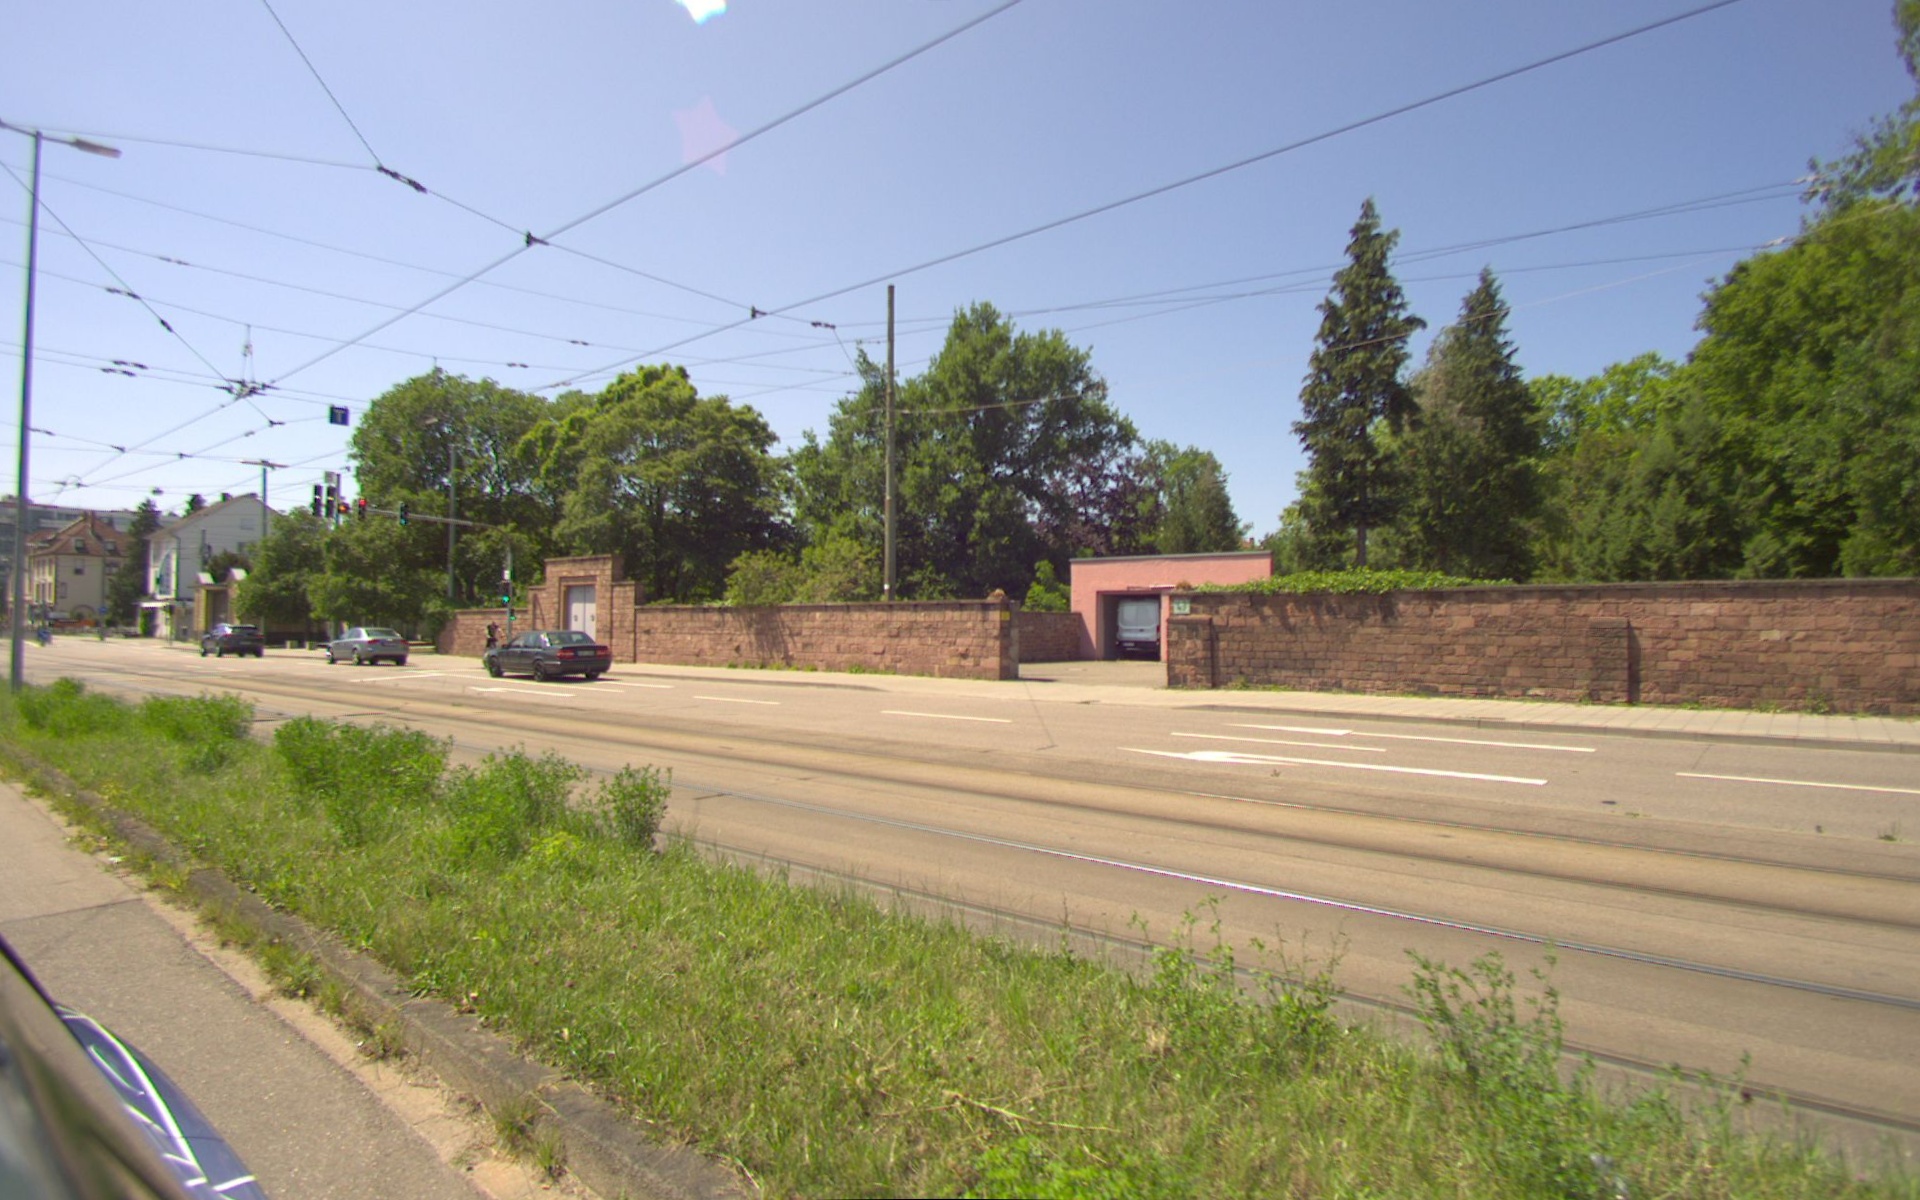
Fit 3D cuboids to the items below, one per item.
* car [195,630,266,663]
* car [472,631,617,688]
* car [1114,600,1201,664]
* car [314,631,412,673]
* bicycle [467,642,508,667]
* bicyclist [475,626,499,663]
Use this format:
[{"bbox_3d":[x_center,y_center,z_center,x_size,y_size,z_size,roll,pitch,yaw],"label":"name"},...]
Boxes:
[{"bbox_3d":[-36.205,2.261,50.171,4.462,1.567,1.822,-2,-3,40],"label":"car"},{"bbox_3d":[-12.121,1.667,29.359,5.031,1.427,1.822,-2,0,41],"label":"car"},{"bbox_3d":[8.195,1.288,41.679,1.881,2.485,4.338,-2,-2,35],"label":"car"},{"bbox_3d":[-23.025,1.961,38.972,4.708,1.427,1.822,-2,0,41],"label":"car"},{"bbox_3d":[-19.208,2.185,41.103,2.112,0.964,0.646,-2,-2,39],"label":"bicycle"},{"bbox_3d":[-19.231,1.804,41.134,0.661,1.508,0.646,-2,-2,39],"label":"bicyclist"}]
